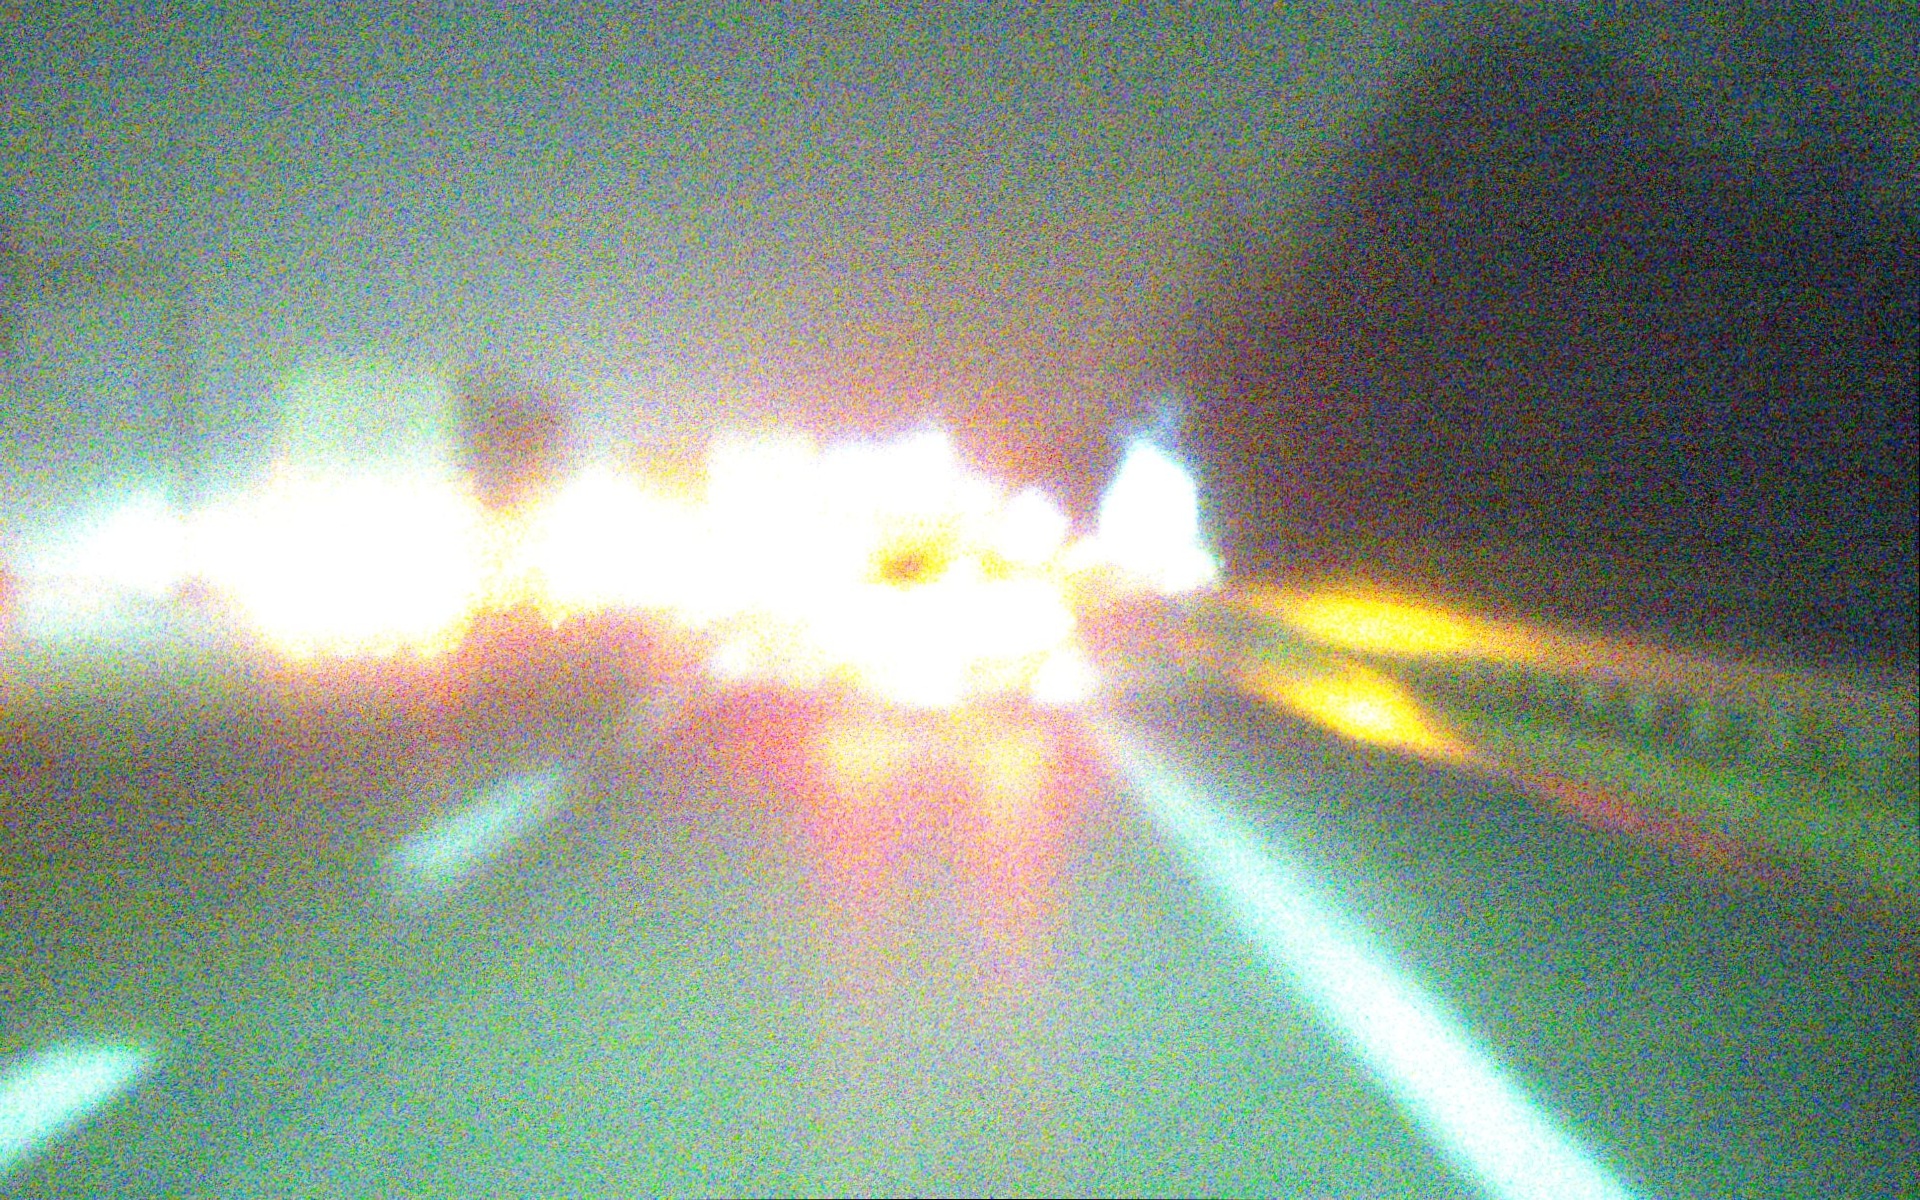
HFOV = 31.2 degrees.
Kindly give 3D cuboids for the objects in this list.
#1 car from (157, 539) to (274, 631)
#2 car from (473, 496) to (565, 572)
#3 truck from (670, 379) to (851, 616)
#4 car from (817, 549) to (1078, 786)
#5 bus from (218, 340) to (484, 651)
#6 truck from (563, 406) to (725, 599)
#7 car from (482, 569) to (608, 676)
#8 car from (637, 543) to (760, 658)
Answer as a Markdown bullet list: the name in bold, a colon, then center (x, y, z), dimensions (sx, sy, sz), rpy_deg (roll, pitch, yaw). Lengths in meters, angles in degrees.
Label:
- **car**: center (-15.161, -0.319, 70.175), dimensions (1.993, 1.788, 4.001), rpy_deg (1, 0, -7)
- **car**: center (-10.830, -1.607, 84.620), dimensions (1.993, 1.801, 4.001), rpy_deg (1, 0, -4)
- **truck**: center (-4.982, -2.520, 88.285), dimensions (4.210, 5.629, 11.468), rpy_deg (1, 0, -2)
- **car**: center (-0.132, 0.505, 28.573), dimensions (1.993, 1.801, 4.000), rpy_deg (1, 0, -1)
- **bus**: center (-9.625, -1.571, 55.545), dimensions (3.096, 4.492, 10.915), rpy_deg (1, 0, -4)
- **truck**: center (-9.724, -2.929, 107.167), dimensions (4.210, 5.629, 11.468), rpy_deg (1, 0, -2)
- **car**: center (-7.330, 0.365, 61.054), dimensions (1.993, 1.801, 4.001), rpy_deg (1, 0, -4)
- **car**: center (-4.752, -0.014, 63.045), dimensions (2.125, 2.007, 4.646), rpy_deg (1, 0, -3)
